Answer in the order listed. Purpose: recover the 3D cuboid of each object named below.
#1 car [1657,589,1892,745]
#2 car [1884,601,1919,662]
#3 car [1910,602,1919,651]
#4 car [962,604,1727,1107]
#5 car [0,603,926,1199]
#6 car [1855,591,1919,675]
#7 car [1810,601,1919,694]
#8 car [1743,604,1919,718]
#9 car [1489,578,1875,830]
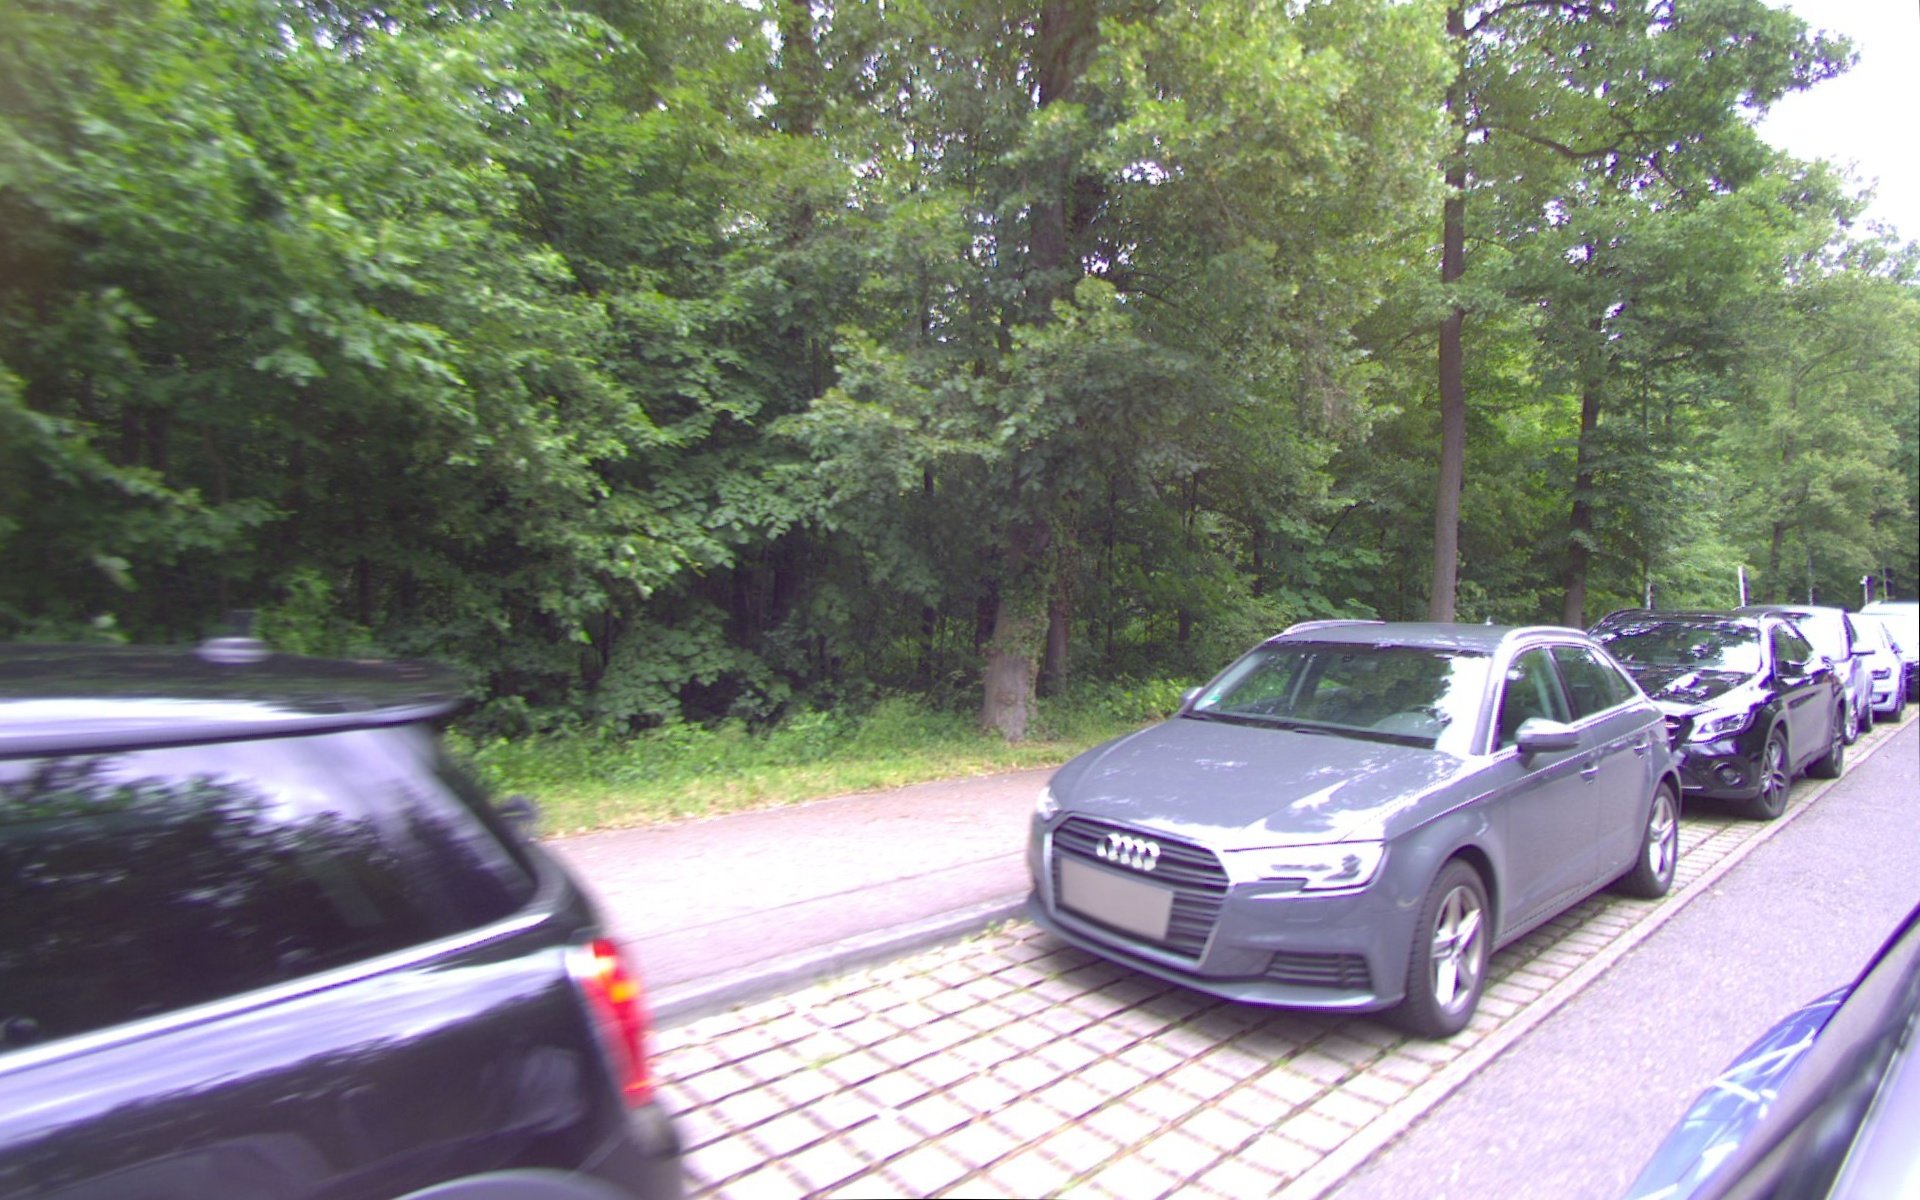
[{"bbox_3d":[9.994,0.686,12.315,3.941,1.588,1.738,0,0,-44],"label":"car"},{"bbox_3d":[25.340,0.773,26.224,4.690,1.498,1.738,0,0,-44],"label":"car"},{"bbox_3d":[29.963,0.779,30.492,4.353,1.425,1.738,0,0,-44],"label":"car"},{"bbox_3d":[2.229,0.746,5.062,4.423,1.450,1.739,0,0,-42],"label":"car"},{"bbox_3d":[-2.253,0.729,1.035,4.426,1.450,1.738,0,0,-44],"label":"car"},{"bbox_3d":[20.957,0.669,22.081,4.987,1.664,1.737,0,0,-44],"label":"car"},{"bbox_3d":[16.626,0.768,18.062,4.528,1.493,1.738,0,0,-44],"label":"car"},{"bbox_3d":[13.056,0.789,14.983,4.085,1.443,1.738,0,0,-44],"label":"car"},{"bbox_3d":[6.256,0.671,8.565,4.306,1.609,1.739,0,0,-42],"label":"car"}]
